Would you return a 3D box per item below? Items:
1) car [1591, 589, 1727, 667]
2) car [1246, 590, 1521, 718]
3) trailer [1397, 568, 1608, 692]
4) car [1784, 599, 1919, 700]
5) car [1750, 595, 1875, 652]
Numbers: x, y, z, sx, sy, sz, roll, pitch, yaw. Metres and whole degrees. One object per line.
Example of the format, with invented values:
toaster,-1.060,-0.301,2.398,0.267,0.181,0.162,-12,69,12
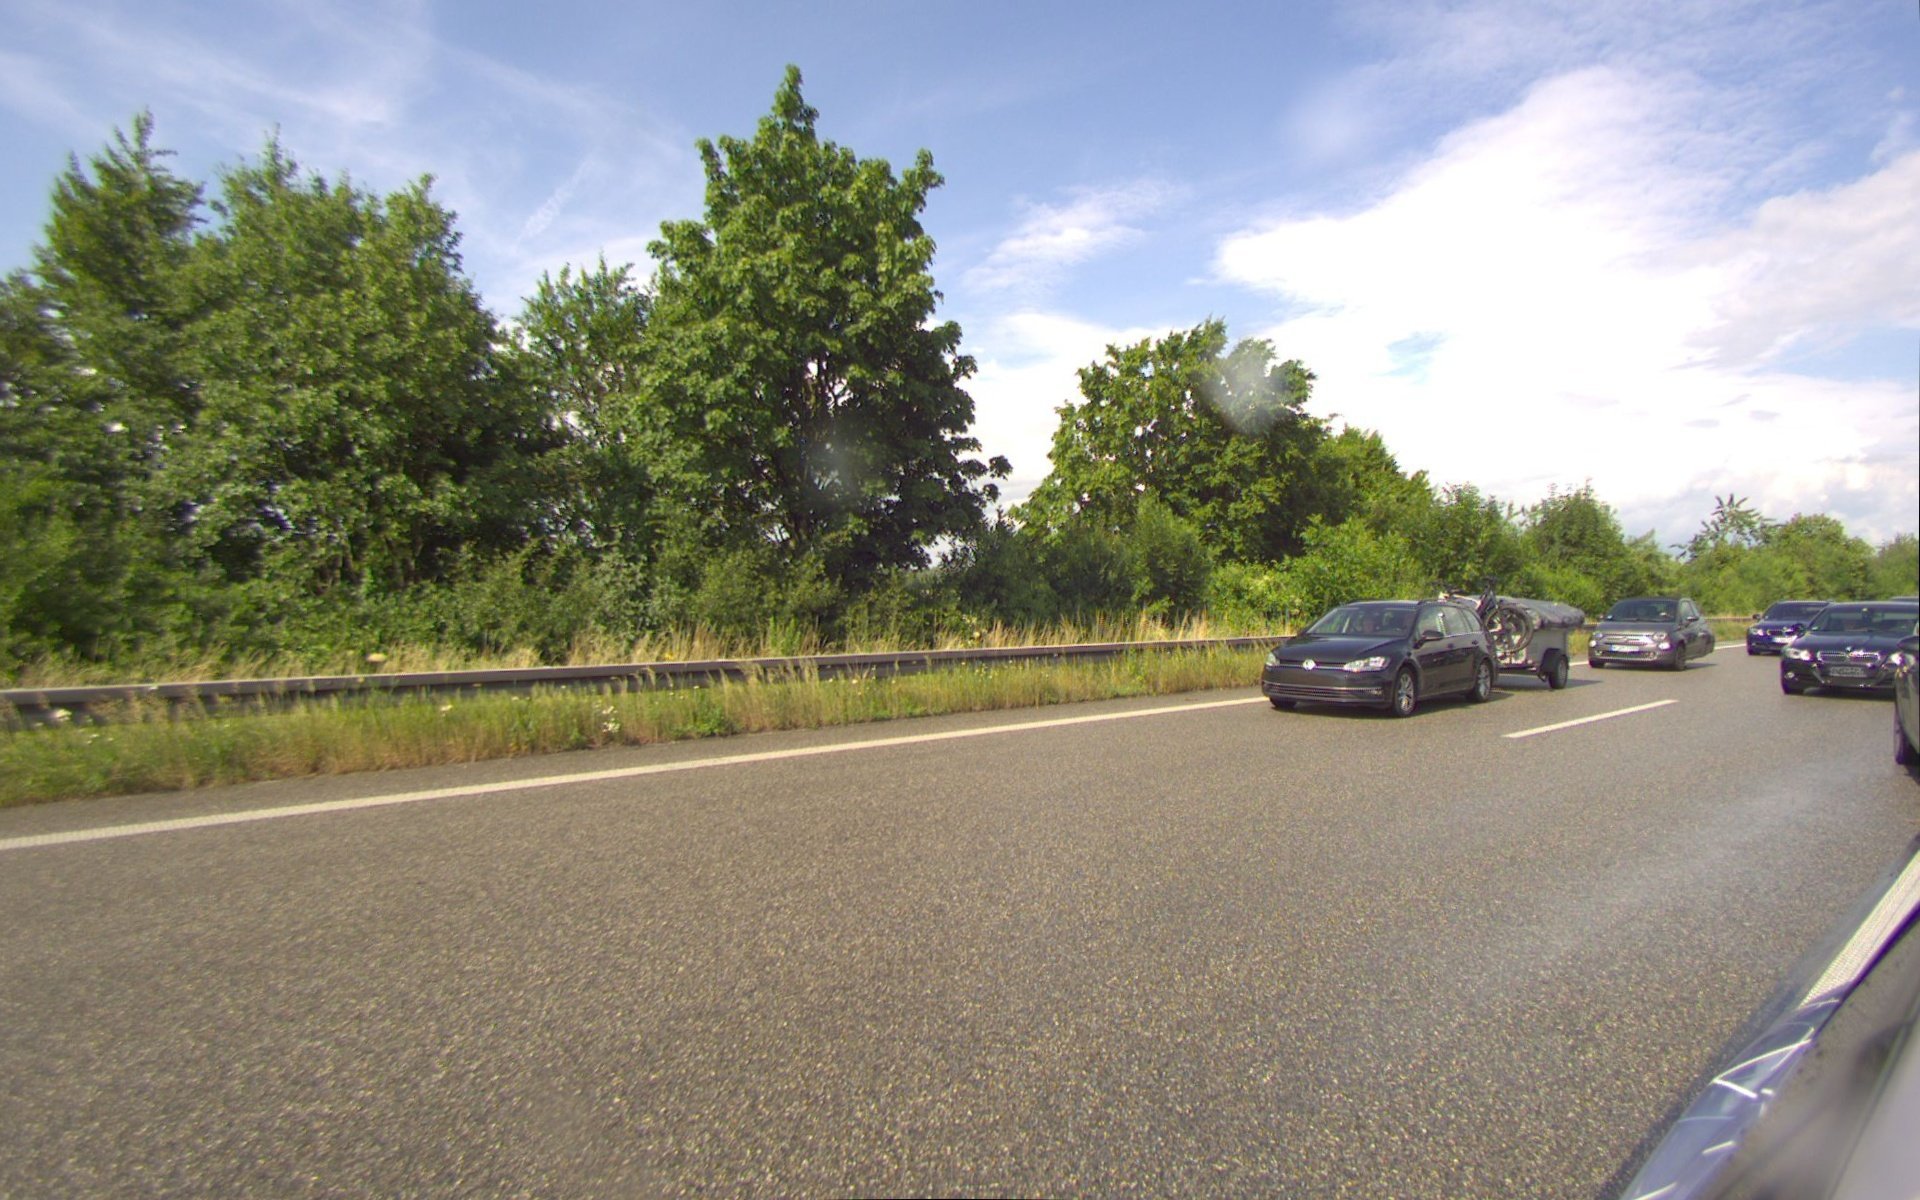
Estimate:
car,14.806,0.527,21.387,3.421,1.507,1.614,0,1,-42
car,5.802,0.590,13.611,4.329,1.449,1.745,0,1,-42
trailer,8.863,0.425,16.411,3.900,1.768,1.808,0,0,-42
car,14.192,0.685,15.550,3.815,1.371,1.721,0,0,-40
car,22.443,0.556,26.581,4.499,1.368,1.770,0,1,-40
